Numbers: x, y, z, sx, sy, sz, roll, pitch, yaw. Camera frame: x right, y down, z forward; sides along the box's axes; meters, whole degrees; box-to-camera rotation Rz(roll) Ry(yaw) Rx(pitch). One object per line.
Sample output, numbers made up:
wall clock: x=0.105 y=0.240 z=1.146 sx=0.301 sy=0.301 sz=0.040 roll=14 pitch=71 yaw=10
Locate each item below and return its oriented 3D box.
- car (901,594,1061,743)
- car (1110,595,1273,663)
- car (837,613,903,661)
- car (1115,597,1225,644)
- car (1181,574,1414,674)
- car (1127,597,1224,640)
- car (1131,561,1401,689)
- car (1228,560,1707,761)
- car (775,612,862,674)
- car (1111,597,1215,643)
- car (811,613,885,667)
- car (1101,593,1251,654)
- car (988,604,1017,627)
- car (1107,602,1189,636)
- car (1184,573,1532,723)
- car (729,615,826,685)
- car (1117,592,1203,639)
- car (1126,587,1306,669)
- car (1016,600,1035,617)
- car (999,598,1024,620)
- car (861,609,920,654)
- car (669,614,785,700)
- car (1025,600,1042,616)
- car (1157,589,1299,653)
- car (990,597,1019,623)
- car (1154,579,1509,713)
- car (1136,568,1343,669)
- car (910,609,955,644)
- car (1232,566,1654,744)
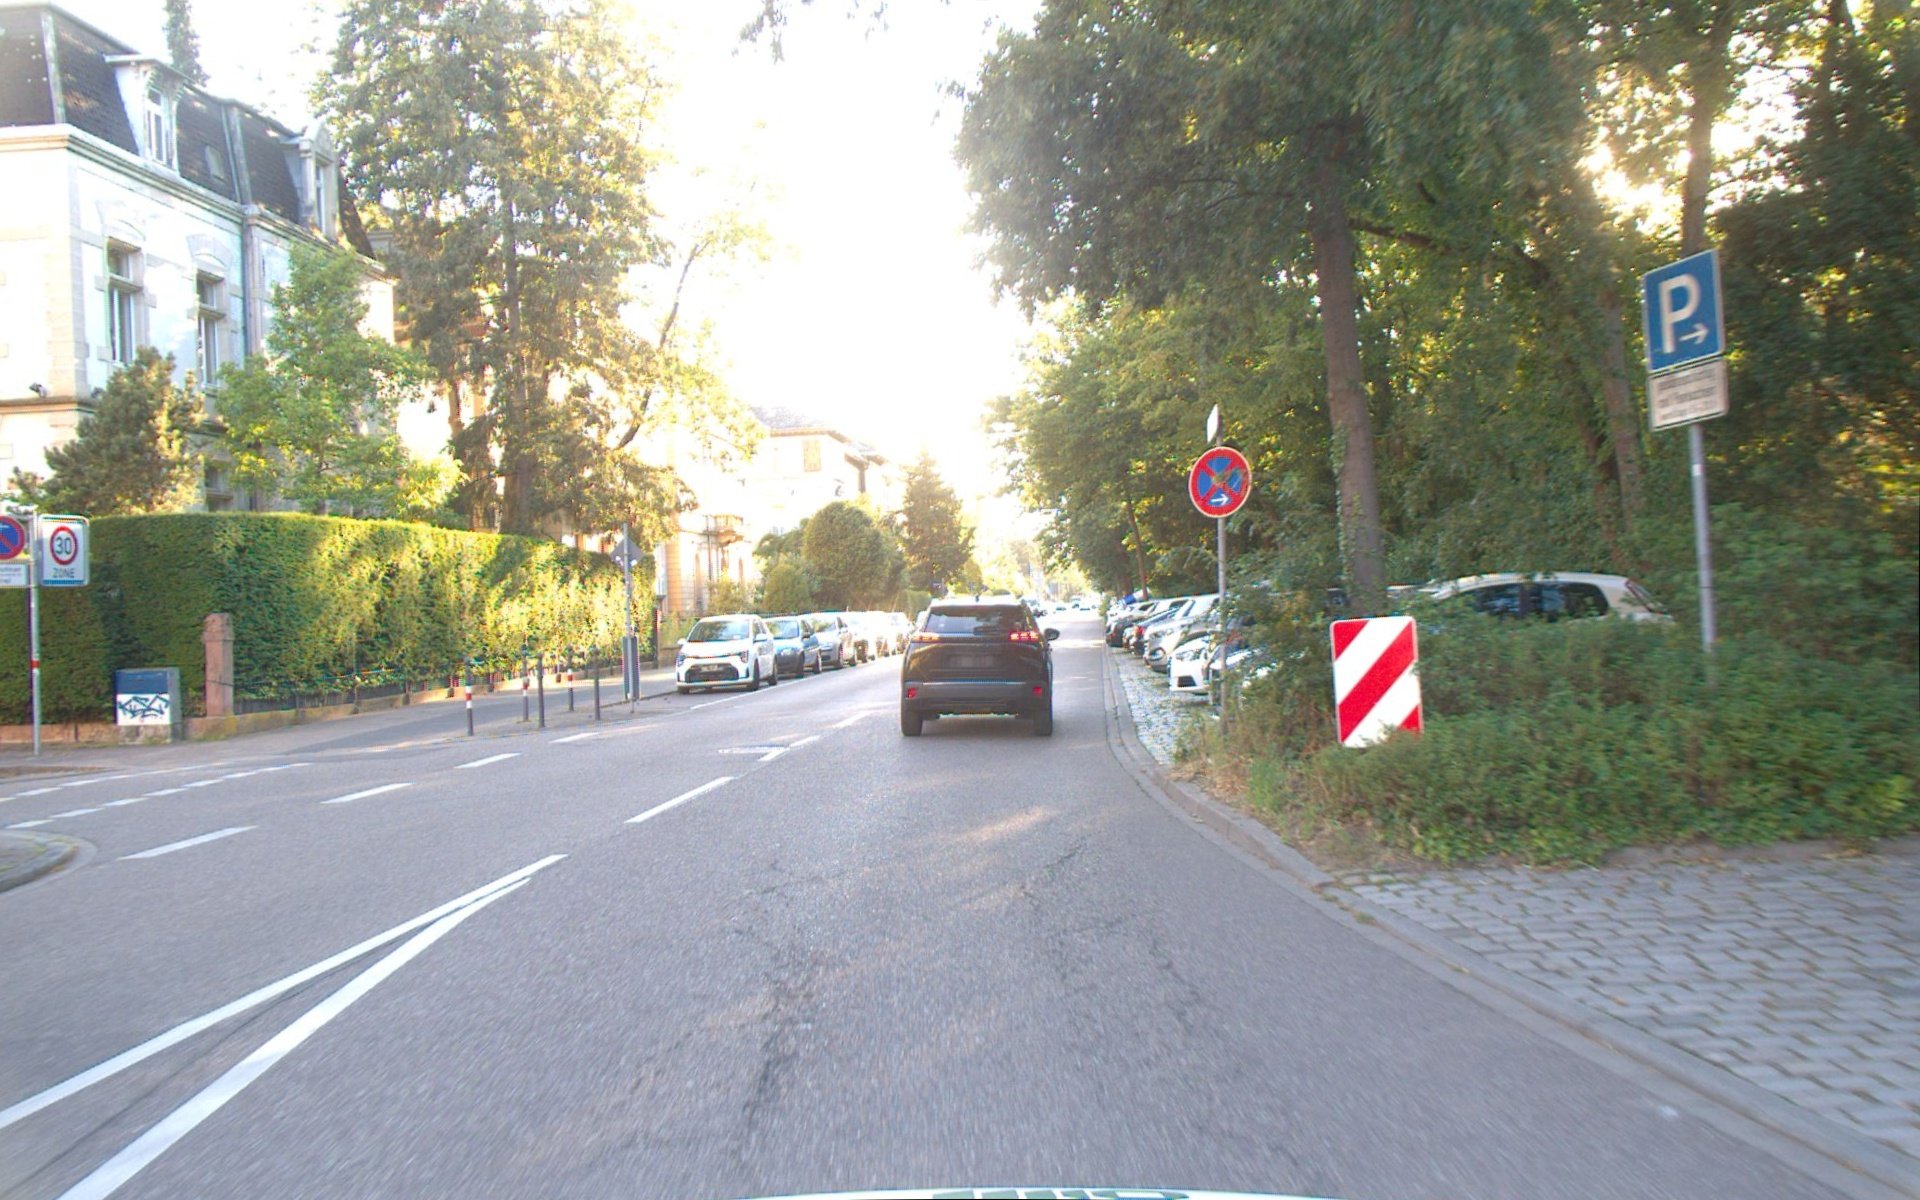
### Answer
car: x=0.174 y=0.739 z=19.947 sx=1.736 sy=1.596 sz=4.107 roll=0 pitch=0 yaw=-2
car: x=6.070 y=0.749 z=43.413 sx=4.069 sy=1.474 sz=1.732 roll=-4 pitch=-1 yaw=8
car: x=-2.962 y=1.208 z=55.296 sx=1.580 sy=1.492 sz=4.038 roll=-3 pitch=-1 yaw=5
car: x=7.660 y=0.749 z=60.652 sx=3.730 sy=1.474 sz=1.826 roll=-4 pitch=-1 yaw=0
car: x=6.042 y=0.465 z=29.975 sx=3.903 sy=1.582 sz=1.726 roll=-3 pitch=-3 yaw=4
car: x=9.182 y=0.786 z=70.663 sx=3.905 sy=1.653 sz=1.758 roll=-2 pitch=-1 yaw=0
car: x=5.135 y=0.421 z=28.251 sx=4.217 sy=1.836 sz=2.036 roll=-4 pitch=-1 yaw=4
car: x=4.557 y=0.532 z=15.334 sx=3.903 sy=1.581 sz=1.726 roll=-3 pitch=0 yaw=4
car: x=-3.744 y=1.113 z=44.220 sx=1.580 sy=1.492 sz=4.038 roll=-3 pitch=-1 yaw=5
car: x=8.056 y=0.789 z=65.912 sx=3.905 sy=1.653 sz=1.758 roll=-2 pitch=-1 yaw=0
car: x=-3.346 y=1.179 z=49.983 sx=1.580 sy=1.492 sz=4.038 roll=-3 pitch=-1 yaw=5
car: x=6.279 y=0.695 z=48.468 sx=4.155 sy=1.474 sz=2.022 roll=-4 pitch=-1 yaw=2
car: x=3.118 y=1.120 z=121.431 sx=1.859 sy=1.601 sz=4.002 roll=-2 pitch=0 yaw=4
car: x=9.403 y=0.955 z=82.943 sx=3.905 sy=1.552 sz=1.758 roll=-2 pitch=-1 yaw=0
car: x=4.810 y=0.558 z=20.443 sx=3.903 sy=1.581 sz=1.753 roll=-3 pitch=1 yaw=4
car: x=-4.297 y=1.150 z=39.470 sx=1.580 sy=1.511 sz=3.743 roll=-3 pitch=-1 yaw=4
car: x=9.649 y=0.744 z=80.114 sx=3.905 sy=2.126 sz=1.758 roll=-2 pitch=-1 yaw=0
car: x=5.882 y=0.638 z=38.358 sx=3.904 sy=1.581 sz=1.726 roll=-4 pitch=-1 yaw=4
car: x=7.222 y=0.930 z=182.569 sx=1.952 sy=1.847 sz=4.002 roll=-2 pitch=0 yaw=4
car: x=4.462 y=0.765 z=144.039 sx=1.952 sy=1.799 sz=4.002 roll=-2 pitch=0 yaw=4
car: x=-2.484 y=1.115 z=60.148 sx=1.580 sy=1.492 sz=4.038 roll=-3 pitch=-1 yaw=5
car: x=-4.692 y=1.118 z=33.789 sx=1.580 sy=1.541 sz=3.713 roll=-4 pitch=-1 yaw=3
car: x=8.934 y=0.994 z=201.279 sx=1.952 sy=1.847 sz=4.002 roll=-2 pitch=0 yaw=4
car: x=7.379 y=0.573 z=45.698 sx=3.727 sy=1.474 sz=1.827 roll=-4 pitch=-1 yaw=8
car: x=3.595 y=0.800 z=132.191 sx=1.951 sy=2.049 sz=4.002 roll=-2 pitch=-1 yaw=6
car: x=5.062 y=0.609 z=22.903 sx=4.396 sy=1.581 sz=1.855 roll=-3 pitch=0 yaw=-5
car: x=5.959 y=0.400 z=35.689 sx=4.156 sy=1.820 sz=1.885 roll=-4 pitch=-1 yaw=4
car: x=-1.231 y=1.201 z=76.360 sx=1.716 sy=1.438 sz=3.766 roll=-4 pitch=0 yaw=3
car: x=4.907 y=0.535 z=17.249 sx=3.903 sy=1.581 sz=1.726 roll=-3 pitch=1 yaw=4
